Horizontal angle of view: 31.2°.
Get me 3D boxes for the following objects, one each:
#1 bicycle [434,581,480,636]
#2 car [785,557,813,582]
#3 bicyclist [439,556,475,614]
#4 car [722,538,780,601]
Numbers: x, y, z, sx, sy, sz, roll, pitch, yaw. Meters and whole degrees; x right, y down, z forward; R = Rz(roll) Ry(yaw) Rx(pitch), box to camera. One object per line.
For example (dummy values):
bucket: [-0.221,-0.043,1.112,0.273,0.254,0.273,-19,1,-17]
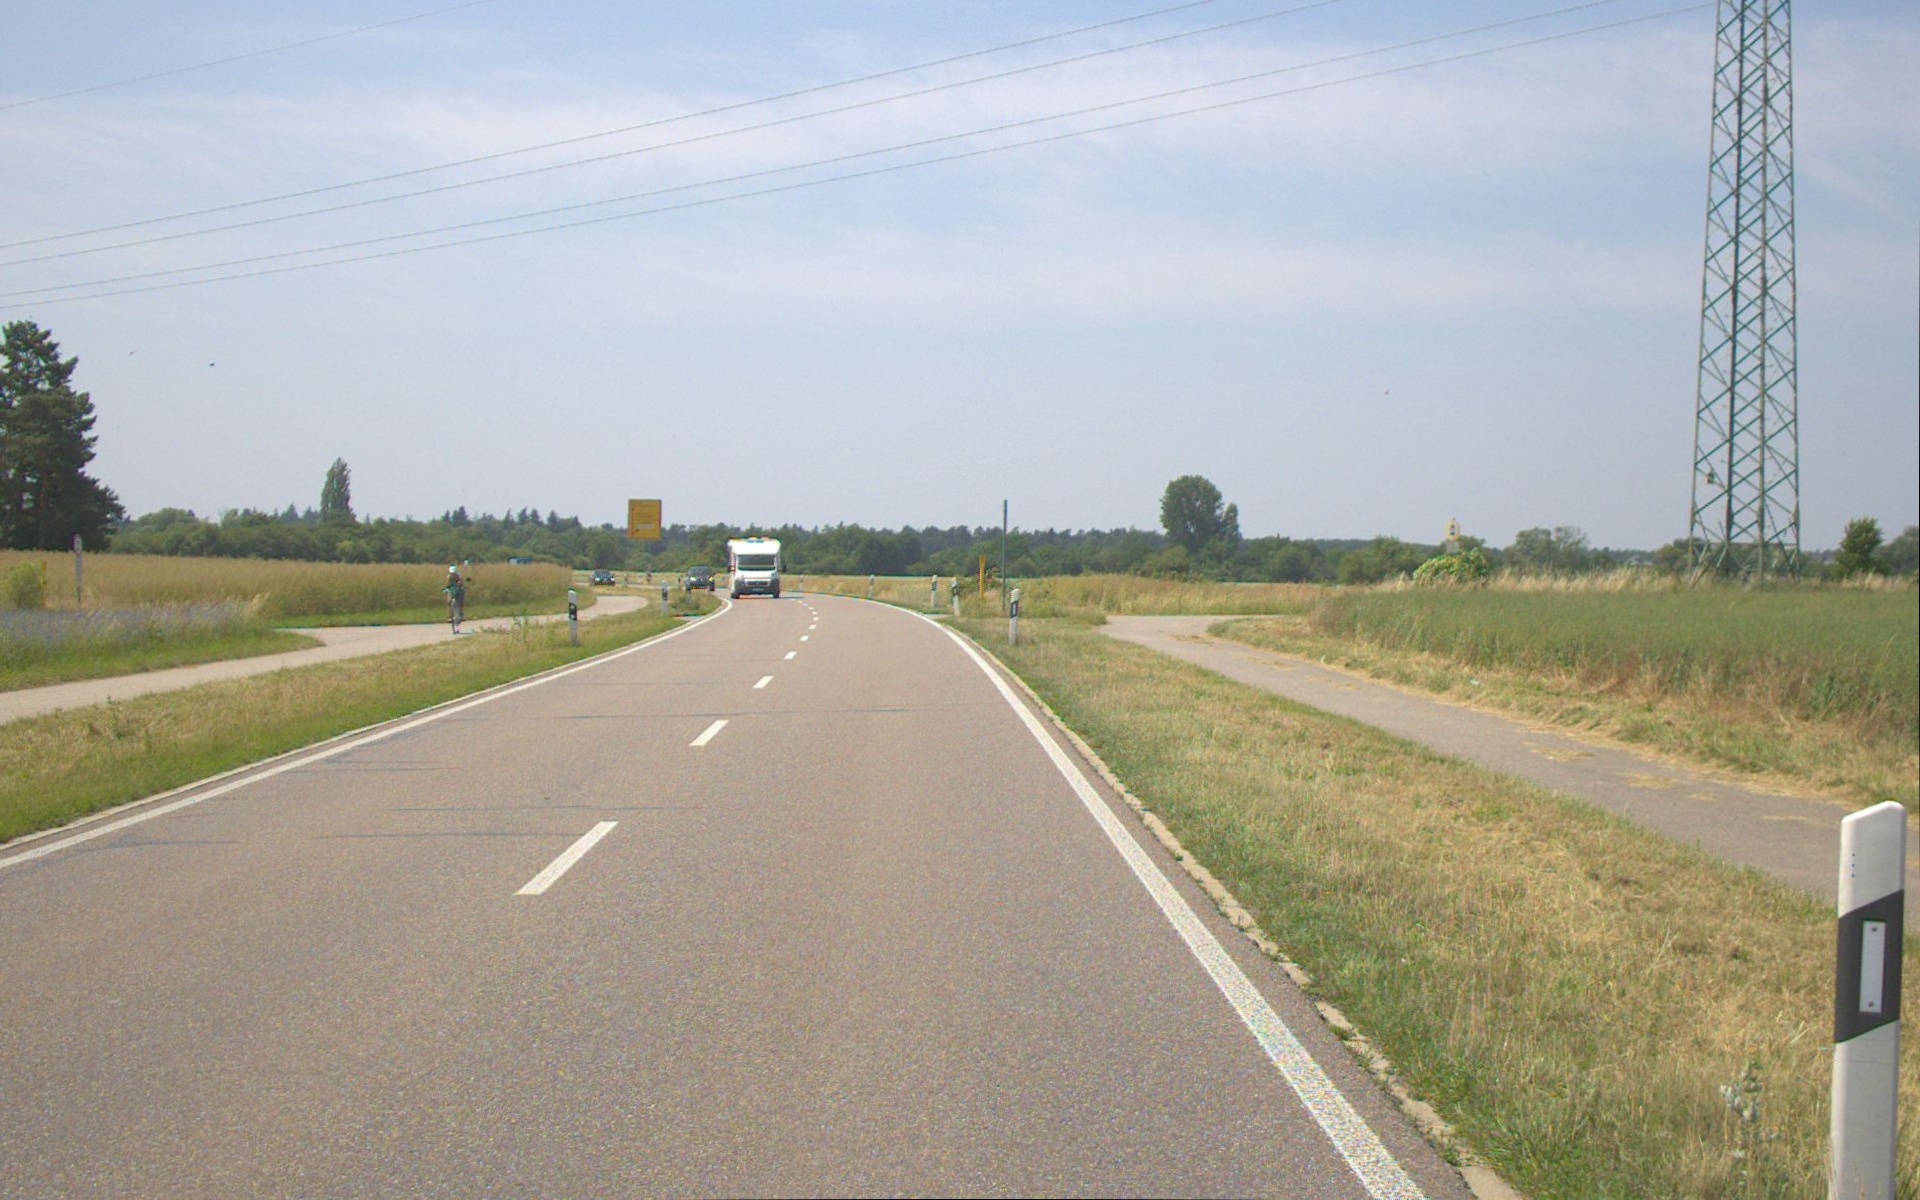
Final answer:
bicycle: [-11.444,0.187,78.320,0.762,1.225,2.216,0,1,-1]
car: [-9.596,-1.841,205.067,1.623,1.486,4.001,1,1,-3]
bicyclist: [-11.474,-0.349,78.419,0.701,1.326,0.965,0,1,-1]
car: [-9.694,-1.460,159.885,2.397,2.837,7.629,1,1,-1]
